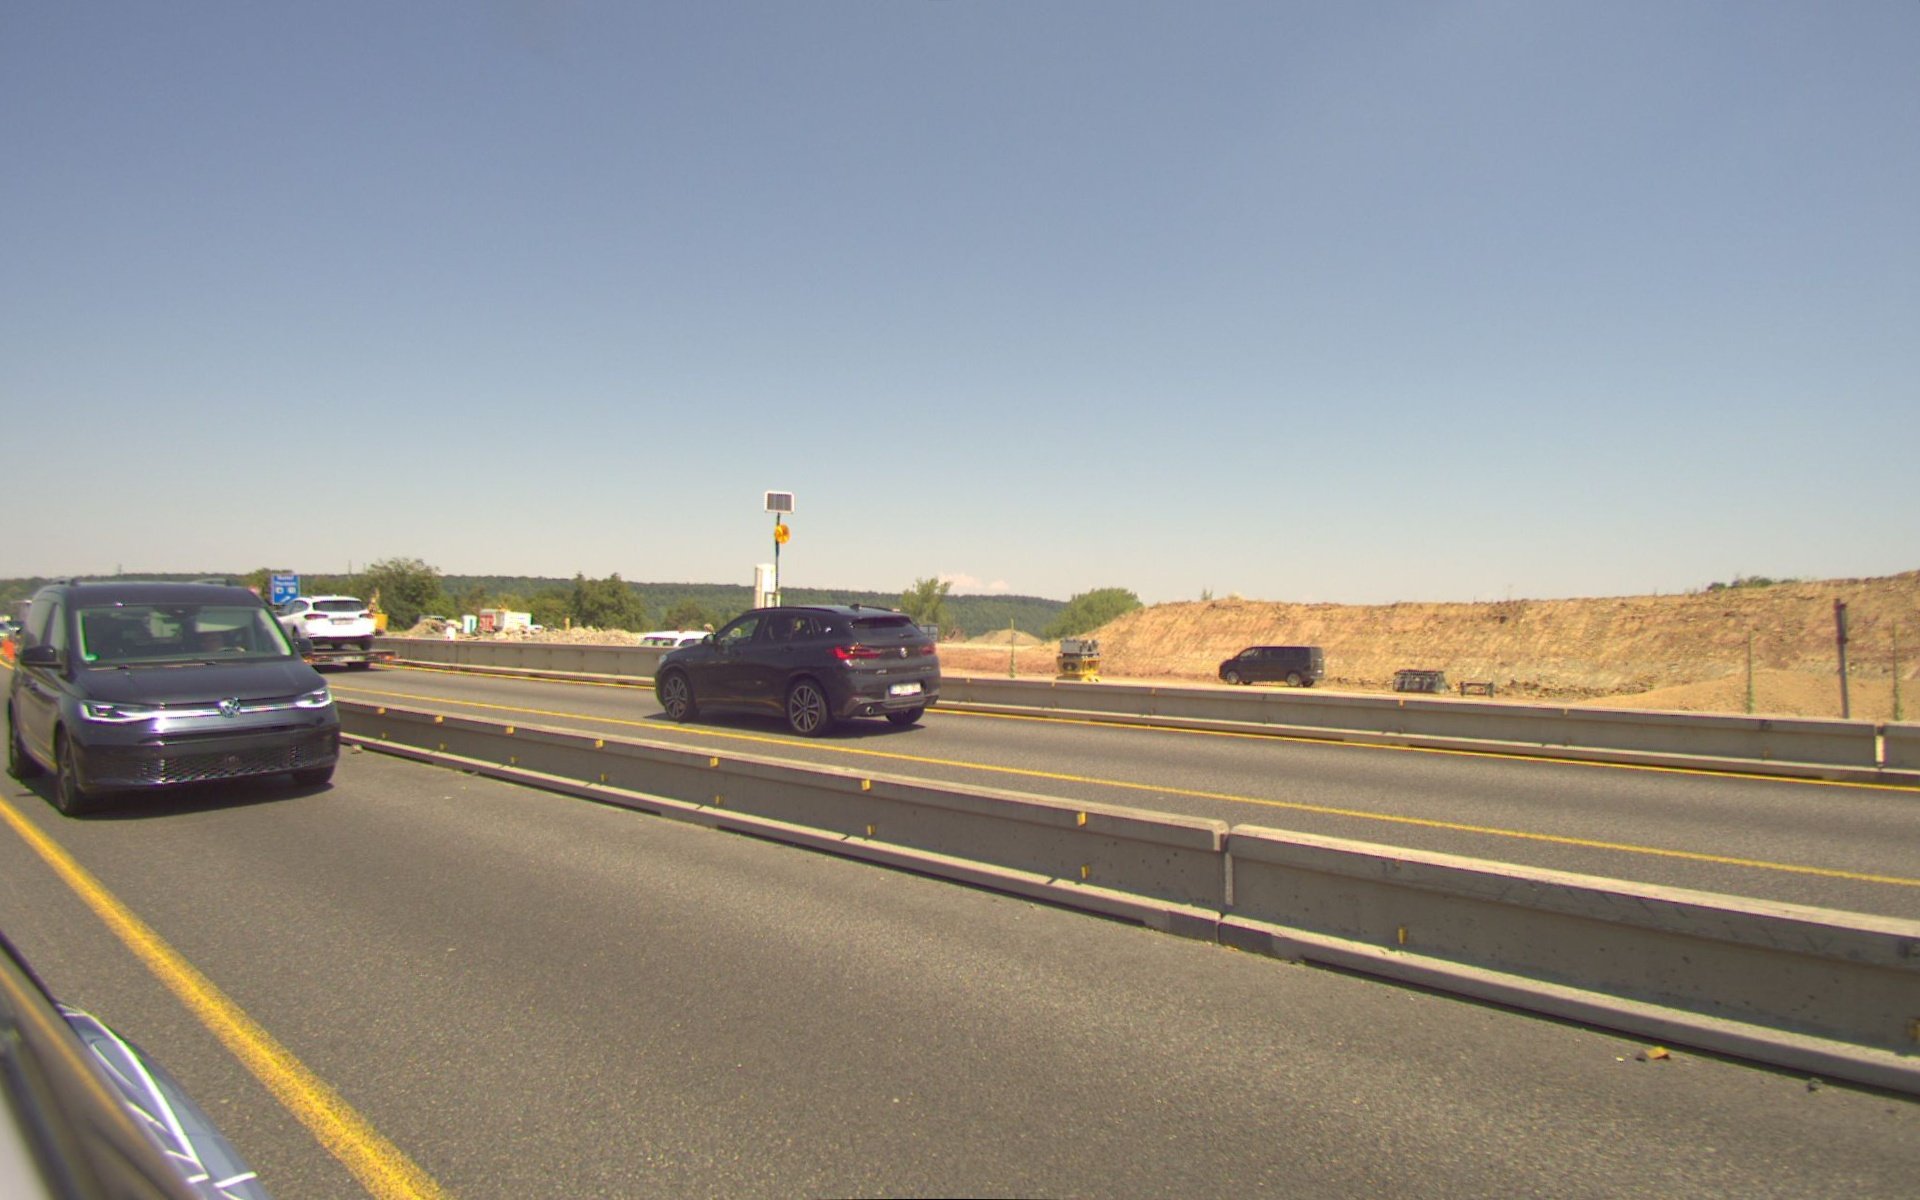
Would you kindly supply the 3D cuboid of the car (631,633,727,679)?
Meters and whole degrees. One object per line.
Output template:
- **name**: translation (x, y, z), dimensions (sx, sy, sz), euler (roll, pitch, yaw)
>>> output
- **car**: translation (-9.528, 1.860, 34.519), dimensions (1.537, 1.466, 3.177), euler (-1, -1, 22)

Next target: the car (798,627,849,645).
- **car**: translation (-11.314, 2.948, 83.520), dimensions (4.441, 1.420, 1.596), euler (-1, -2, 39)

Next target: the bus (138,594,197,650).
- **bus**: translation (-47.232, 1.301, 60.240), dimensions (2.320, 3.149, 7.238), euler (1, -2, -41)

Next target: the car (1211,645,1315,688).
- **car**: translation (14.852, 3.225, 49.736), dimensions (4.550, 1.939, 1.978), euler (-1, -2, 33)

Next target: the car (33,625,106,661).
- **car**: translation (-38.468, 1.817, 43.689), dimensions (4.633, 1.466, 1.796), euler (-1, -2, 42)

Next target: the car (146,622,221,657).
- **car**: translation (-33.562, 1.690, 43.707), dimensions (4.647, 1.434, 1.801), euler (-1, -2, 43)

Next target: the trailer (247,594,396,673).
- **trailer**: translation (-17.889, 0.941, 28.240), dimensions (5.233, 1.997, 2.108), euler (-2, -3, 42)

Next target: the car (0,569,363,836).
- **car**: translation (-7.235, 0.725, 9.084), dimensions (4.601, 1.803, 1.901), euler (-1, -1, 41)

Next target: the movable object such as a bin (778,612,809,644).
- **movable object such as a bin**: translation (-16.957, 2.861, 102.639), dimensions (1.965, 3.165, 4.500), euler (0, -2, -25)

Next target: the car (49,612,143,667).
- **car**: translation (-26.557, 1.190, 31.072), dimensions (4.133, 1.591, 1.676), euler (-1, -2, 42)

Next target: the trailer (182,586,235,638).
- **trailer**: translation (-63.592, 1.100, 85.852), dimensions (2.722, 4.146, 14.015), euler (1, -2, -33)

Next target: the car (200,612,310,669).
- **car**: translation (-22.940, 1.271, 32.870), dimensions (4.715, 1.692, 1.903), euler (-1, -1, 42)

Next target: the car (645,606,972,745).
- **car**: translation (-2.071, 0.865, 12.962), dimensions (4.390, 1.490, 1.707), euler (-1, -2, 41)

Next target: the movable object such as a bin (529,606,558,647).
- **movable object such as a bin**: translation (-33.175, 2.086, 80.560), dimensions (1.965, 3.165, 4.291), euler (0, -2, -25)

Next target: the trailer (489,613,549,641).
- **trailer**: translation (-49.289, 3.008, 113.240), dimensions (2.881, 3.019, 5.508), euler (-1, -2, 39)

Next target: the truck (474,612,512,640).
- **truck**: translation (-53.465, 2.982, 115.875), dimensions (4.261, 3.066, 2.317), euler (-1, -2, 40)
